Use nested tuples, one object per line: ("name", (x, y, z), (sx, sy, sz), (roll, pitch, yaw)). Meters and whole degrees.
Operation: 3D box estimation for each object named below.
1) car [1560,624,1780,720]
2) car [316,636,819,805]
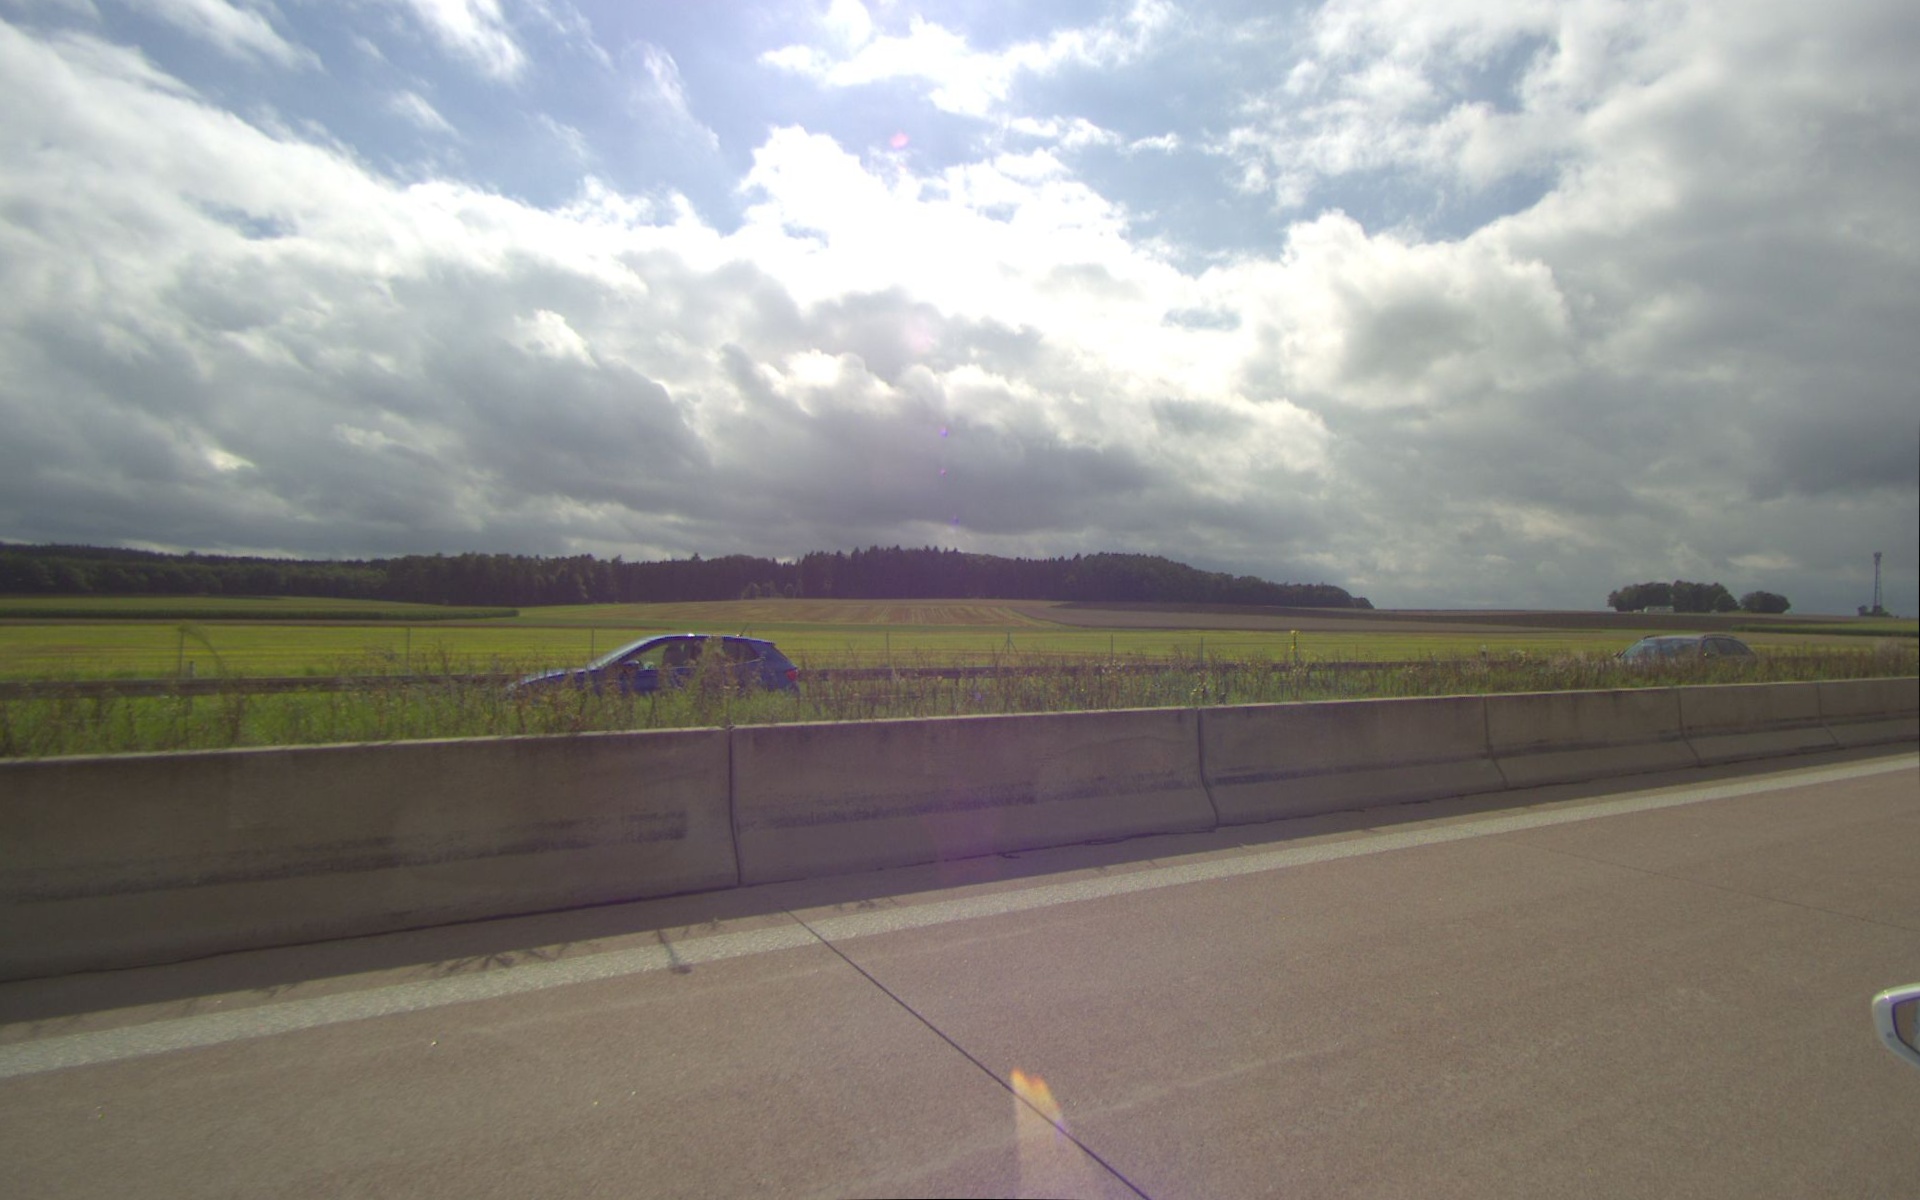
("car", (15.561, 1.491, 21.935), (5.213, 1.870, 1.984), (1, -2, -31))
("car", (-5.103, 1.438, 13.669), (6.032, 1.870, 1.984), (1, -2, -31))
